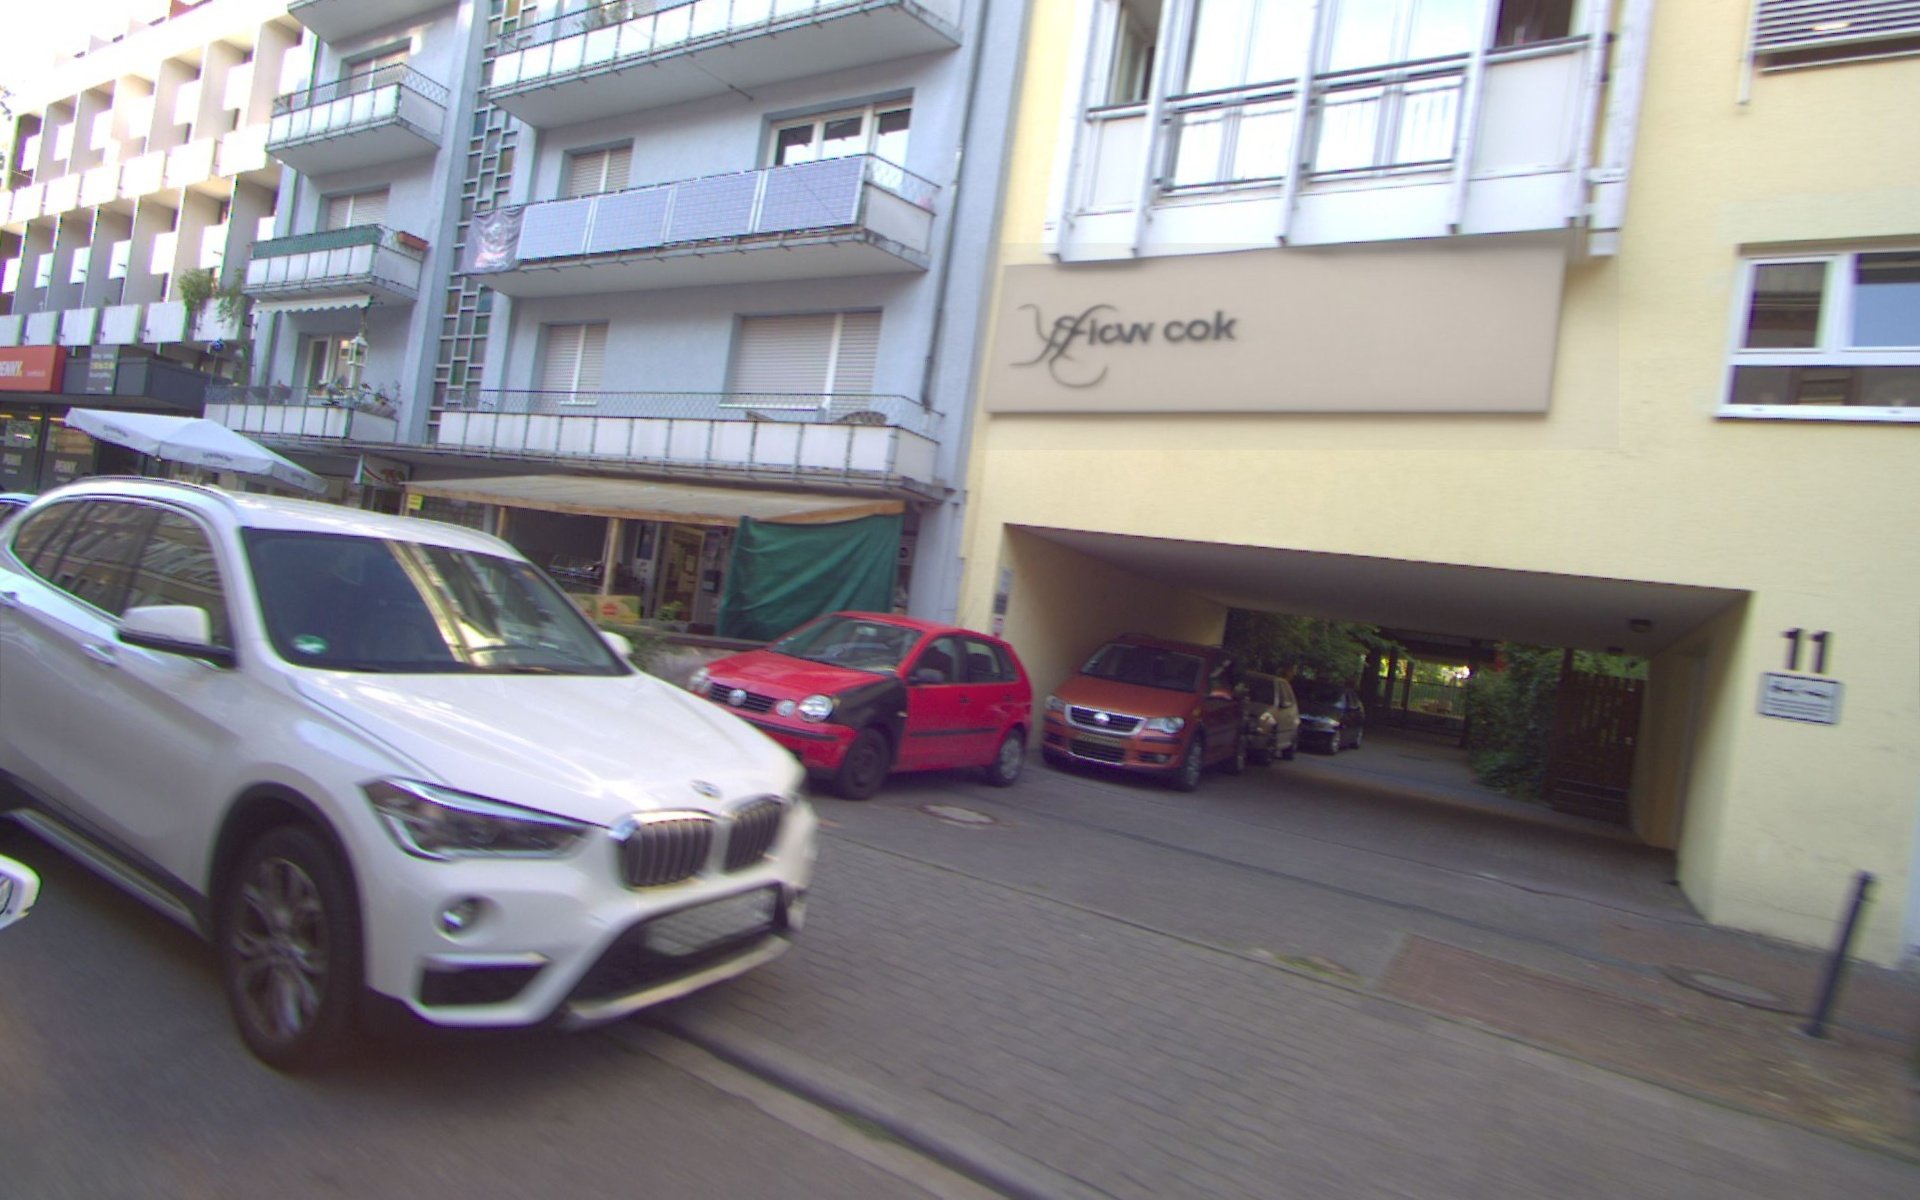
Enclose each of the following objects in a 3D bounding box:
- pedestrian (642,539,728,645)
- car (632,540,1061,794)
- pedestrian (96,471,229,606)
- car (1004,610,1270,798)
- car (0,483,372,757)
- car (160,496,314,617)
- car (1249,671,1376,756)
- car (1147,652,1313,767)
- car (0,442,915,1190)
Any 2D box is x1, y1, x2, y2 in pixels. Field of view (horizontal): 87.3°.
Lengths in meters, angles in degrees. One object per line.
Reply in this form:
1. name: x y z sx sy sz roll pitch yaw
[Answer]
1. pedestrian: -5.001 -0.136 18.313 0.939 1.720 0.848 8 -2 27
2. car: -0.746 0.685 9.054 1.665 1.624 3.908 8 -3 30
3. pedestrian: -10.290 -0.765 13.006 0.859 1.575 0.873 8 2 9
4. car: 2.385 1.260 12.520 1.965 1.678 4.119 8 -2 27
5. car: -6.391 -0.032 7.256 4.221 1.405 1.726 8 0 30
6. car: -10.962 -0.686 15.338 1.592 1.432 3.197 9 -1 -35
7. car: 7.900 2.486 22.282 1.741 1.436 4.328 8 -1 30
8. car: 4.661 1.830 16.930 1.730 1.436 3.957 8 -2 28
9. car: -2.647 0.394 4.206 4.509 1.630 1.727 8 -2 29
